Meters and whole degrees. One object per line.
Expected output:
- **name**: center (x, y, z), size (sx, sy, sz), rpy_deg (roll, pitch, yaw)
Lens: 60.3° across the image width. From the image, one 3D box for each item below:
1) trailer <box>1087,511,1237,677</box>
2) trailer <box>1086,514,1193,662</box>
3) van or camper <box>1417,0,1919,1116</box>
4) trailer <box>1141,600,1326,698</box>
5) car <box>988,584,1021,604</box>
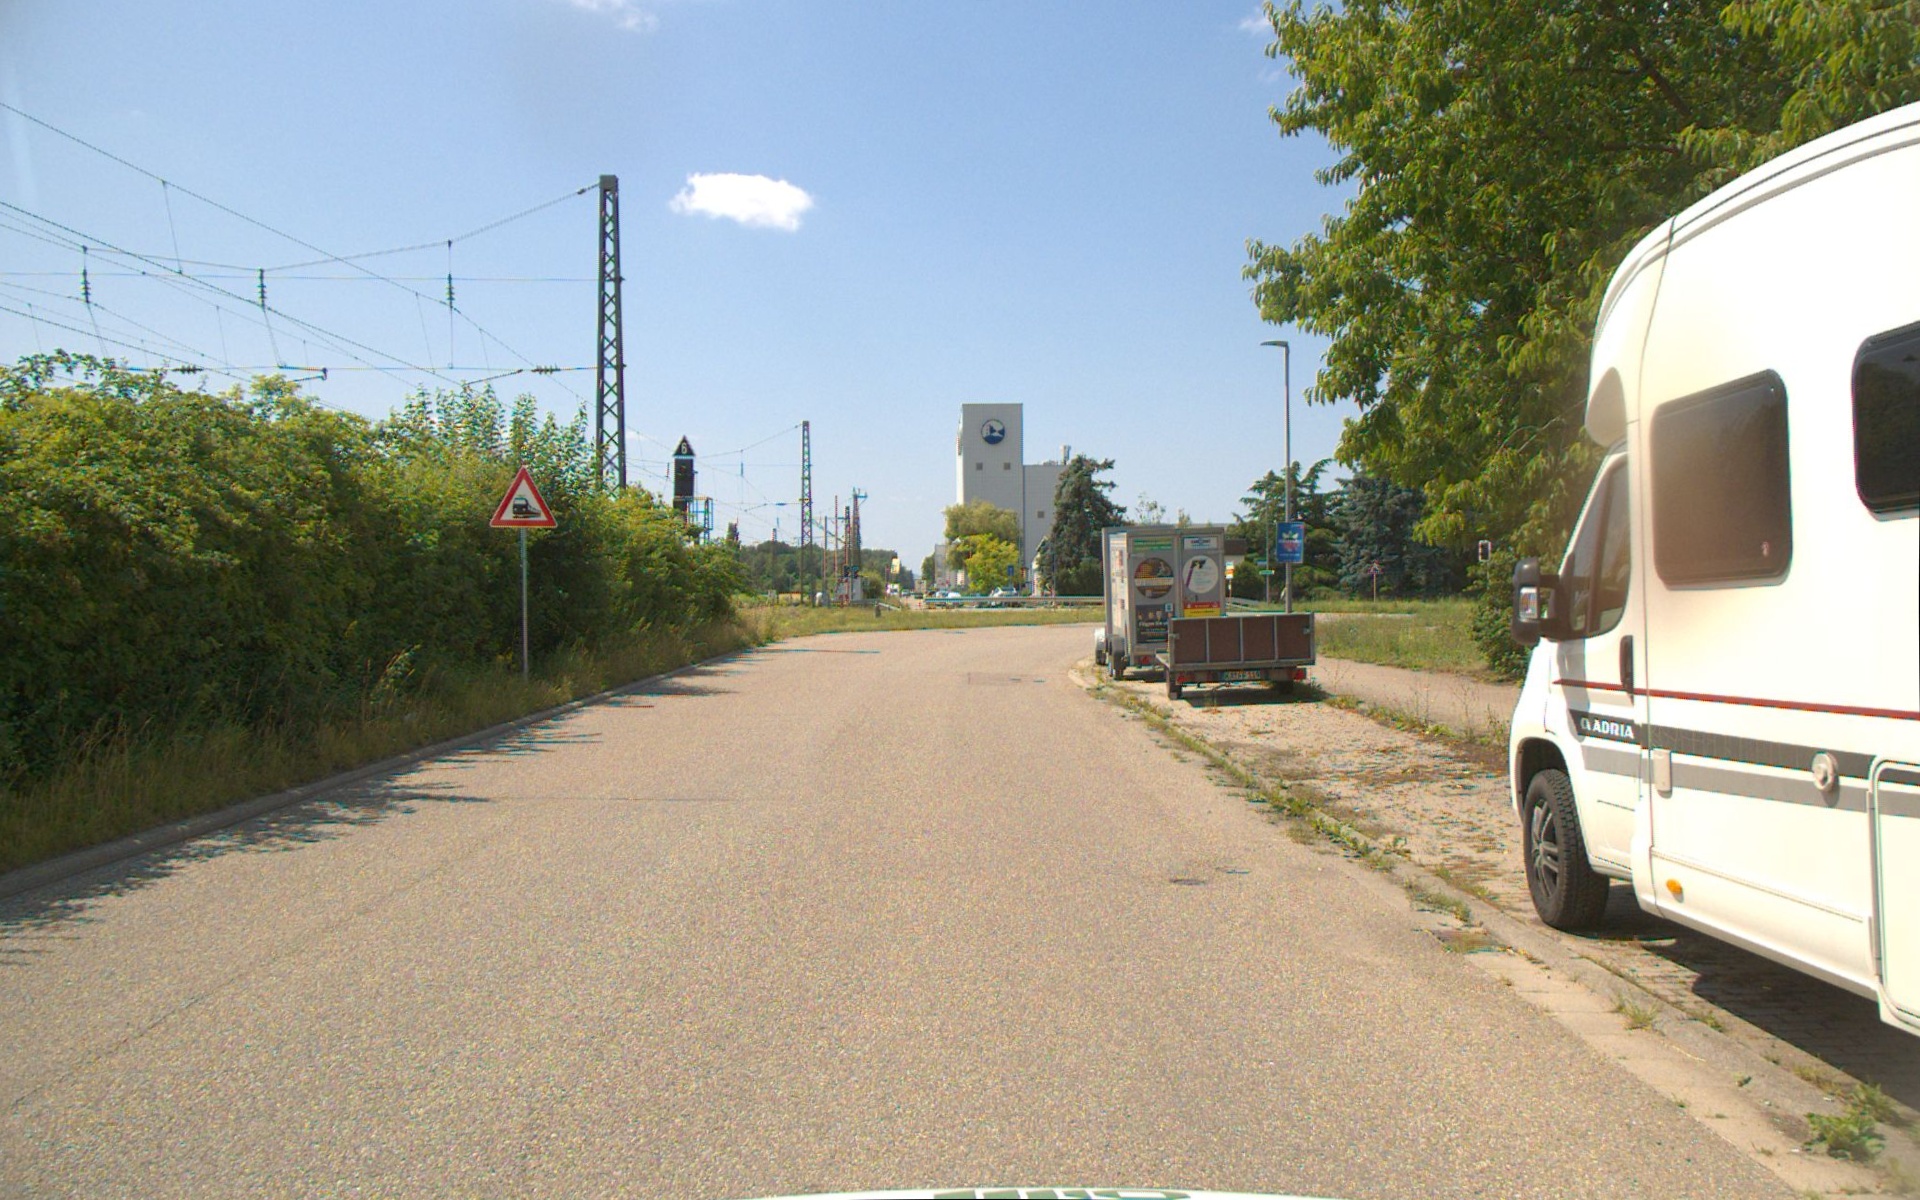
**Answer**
- **trailer**: center (3.411, -0.120, 28.818), size (1.880, 2.552, 4.740), rpy_deg (-3, 0, 0)
- **trailer**: center (3.621, -0.257, 33.934), size (1.892, 2.690, 5.187), rpy_deg (-3, 0, 5)
- **van or camper**: center (3.625, -0.150, 4.653), size (2.389, 2.876, 7.622), rpy_deg (-2, 0, -1)
- **trailer**: center (3.730, 0.625, 23.334), size (1.963, 1.142, 4.490), rpy_deg (-3, 0, 2)
- **car**: center (3.372, -0.465, 126.803), size (1.955, 1.536, 4.448), rpy_deg (-1, 1, -6)
